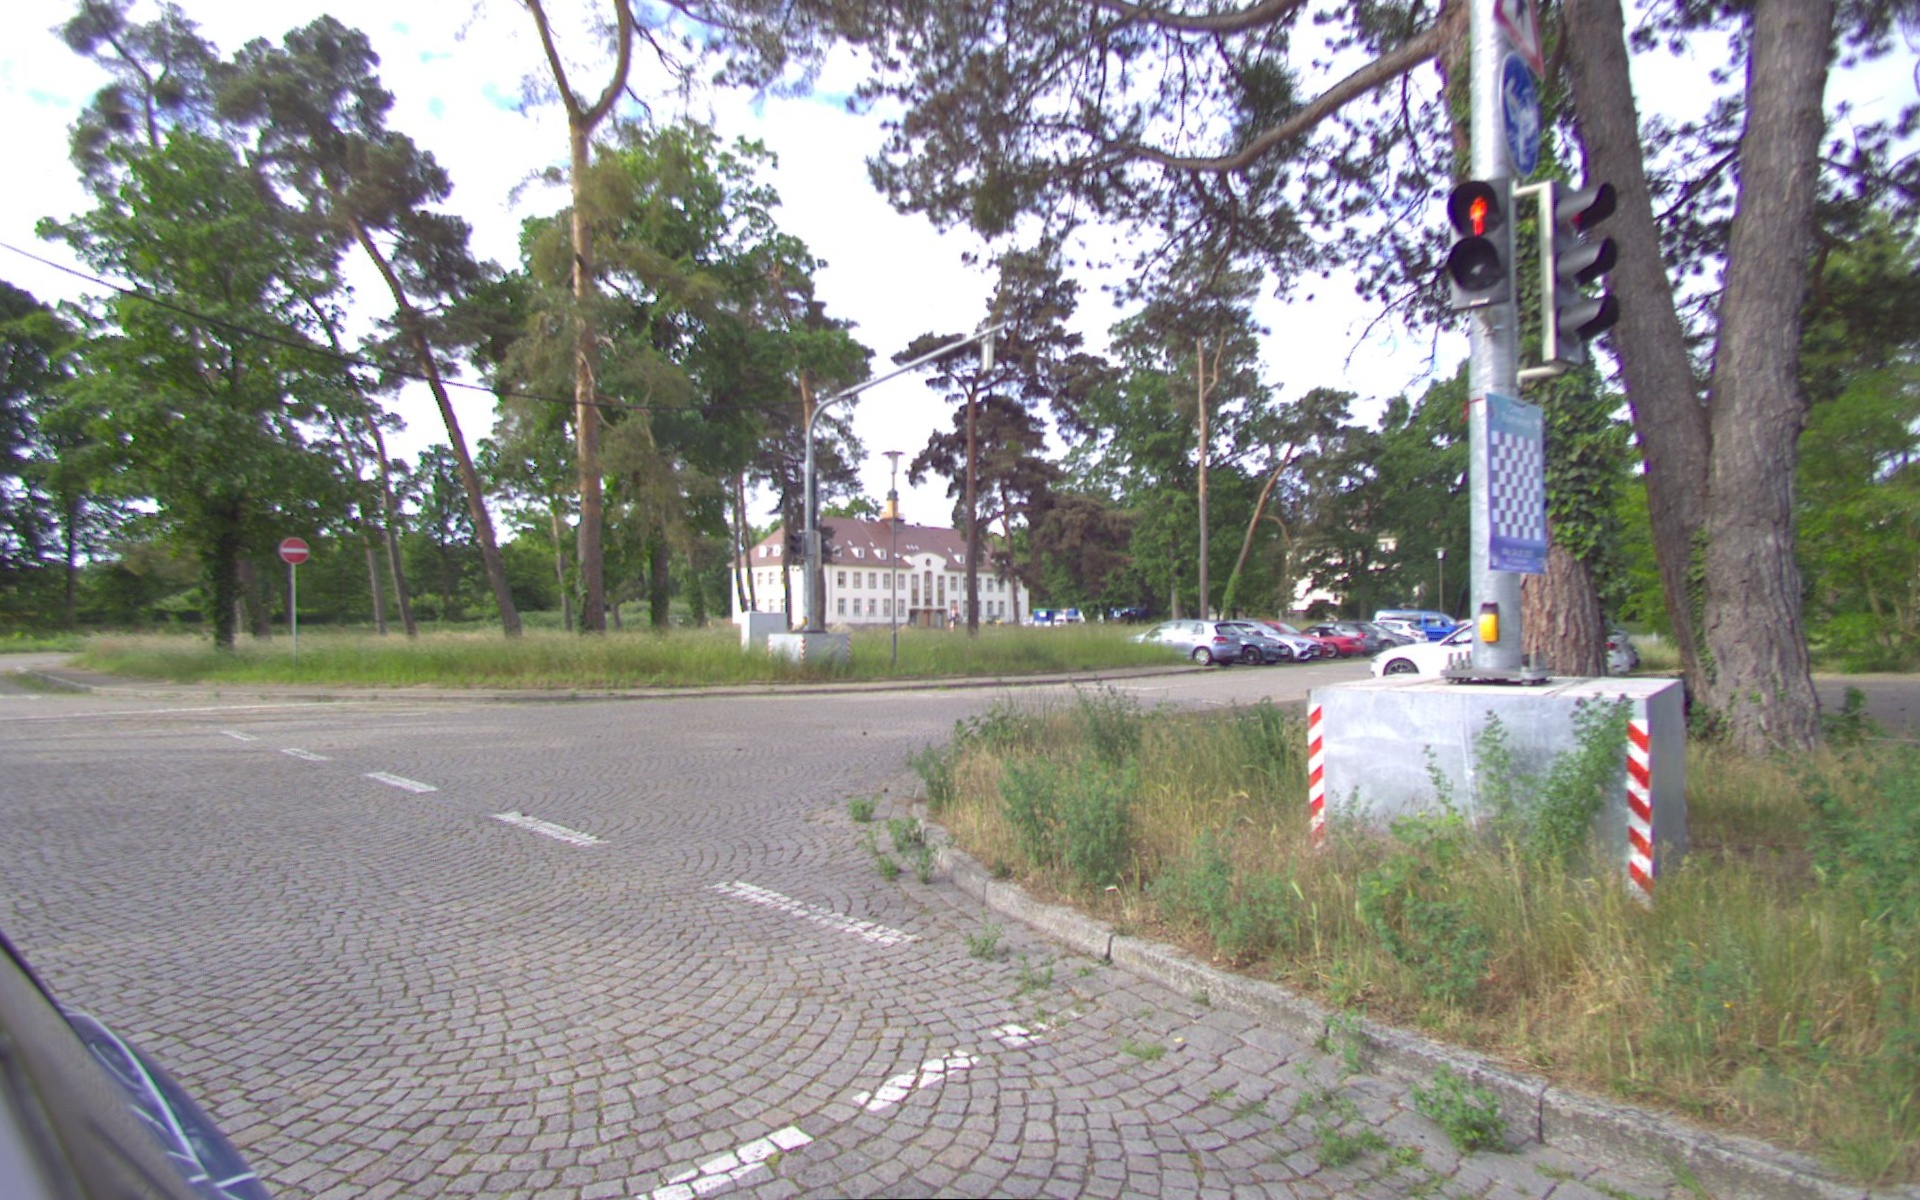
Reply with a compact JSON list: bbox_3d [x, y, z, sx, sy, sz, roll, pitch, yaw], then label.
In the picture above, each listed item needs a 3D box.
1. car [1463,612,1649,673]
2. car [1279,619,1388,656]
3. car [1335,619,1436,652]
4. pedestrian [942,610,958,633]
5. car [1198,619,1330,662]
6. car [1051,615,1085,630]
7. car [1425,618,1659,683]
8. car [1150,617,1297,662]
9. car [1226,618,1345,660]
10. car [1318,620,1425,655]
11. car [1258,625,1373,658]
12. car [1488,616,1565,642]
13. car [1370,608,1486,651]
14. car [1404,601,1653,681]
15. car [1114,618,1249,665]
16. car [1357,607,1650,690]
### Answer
[{"bbox_3d":[15.576,1.080,26.543,3.982,1.467,1.659,-1,-2,39],"label":"car"},{"bbox_3d":[15.641,1.534,42.510,3.937,1.487,1.770,-1,-2,45],"label":"car"},{"bbox_3d":[19.561,1.609,46.622,3.937,1.460,1.771,-1,-2,44],"label":"car"},{"bbox_3d":[-0.965,2.088,98.462,1.185,2.194,1.041,-1,-2,43],"label":"pedestrian"},{"bbox_3d":[10.987,1.448,36.803,1.770,1.456,4.273,1,-2,-44],"label":"car"},{"bbox_3d":[14.482,3.007,135.420,2.166,2.029,4.768,-2,-2,41],"label":"car"},{"bbox_3d":[13.961,1.155,24.446,4.632,1.433,1.859,-1,-2,41],"label":"car"},{"bbox_3d":[9.038,1.340,34.956,4.634,1.456,1.771,-1,-2,44],"label":"car"},{"bbox_3d":[12.374,1.456,38.639,1.770,1.524,3.939,1,-2,-44],"label":"car"},{"bbox_3d":[17.854,1.614,44.015,3.937,1.446,1.771,-1,-2,44],"label":"car"},{"bbox_3d":[14.121,1.609,40.331,3.937,1.244,1.770,-1,-2,45],"label":"car"},{"bbox_3d":[35.935,1.825,64.247,3.997,1.581,1.973,-1,-2,40],"label":"car"},{"bbox_3d":[23.170,1.458,50.235,1.969,2.029,4.850,1,-2,-42],"label":"car"},{"bbox_3d":[12.409,0.930,22.260,4.483,1.602,1.823,-4,-3,40],"label":"car"},{"bbox_3d":[7.188,1.326,33.051,4.002,1.429,1.770,-1,-2,45],"label":"car"},{"bbox_3d":[10.761,1.020,20.281,4.819,1.450,1.887,-5,-4,41],"label":"car"}]
